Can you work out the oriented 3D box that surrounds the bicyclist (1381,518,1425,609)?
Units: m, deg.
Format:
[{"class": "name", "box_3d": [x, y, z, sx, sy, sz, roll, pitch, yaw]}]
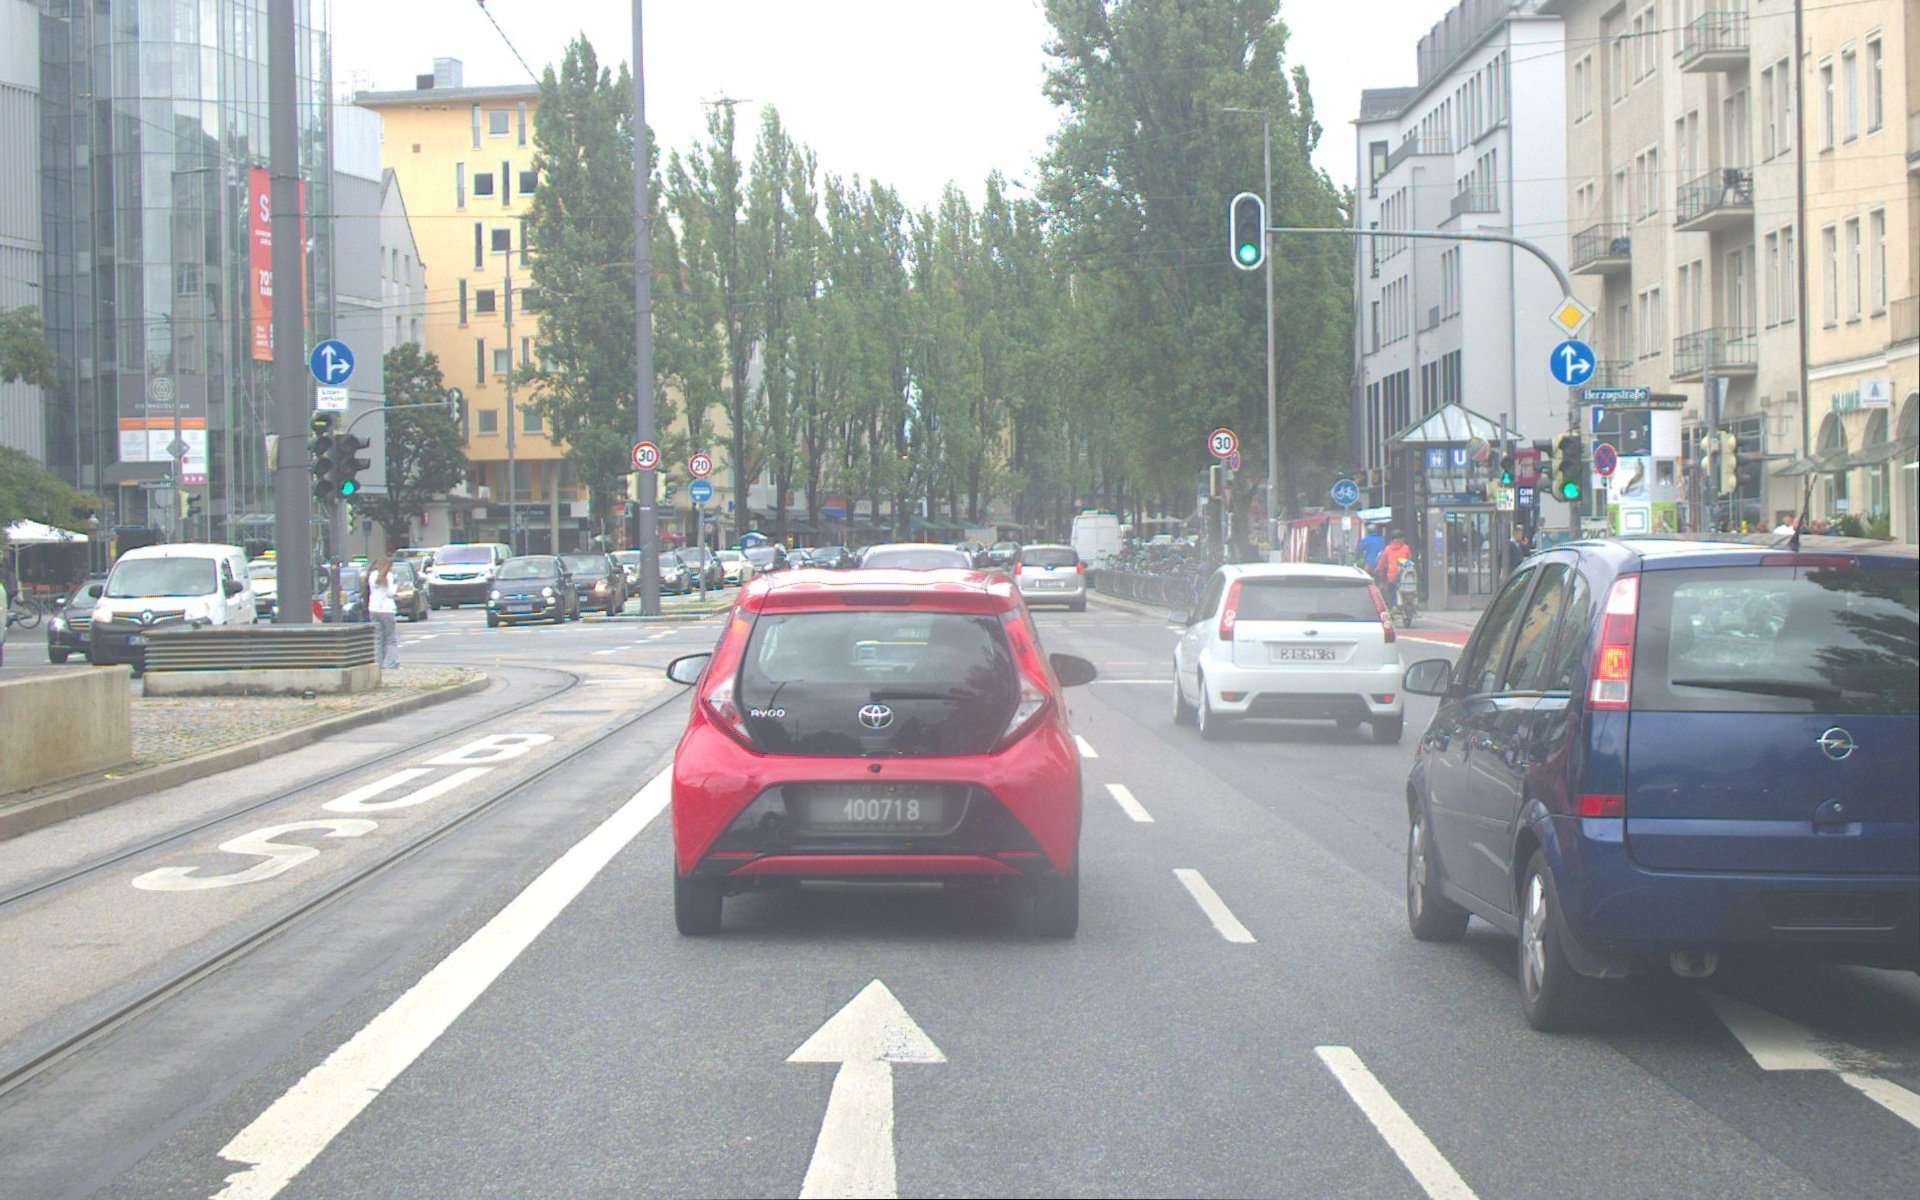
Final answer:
[{"class": "bicyclist", "box_3d": [8.171, -0.689, 63.450, 0.614, 1.652, 1.251, -1, 1, 0]}]

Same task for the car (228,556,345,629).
[{"class": "car", "box_3d": [-13.662, -0.176, 69.914, 1.677, 1.391, 4.233, -1, 1, -2]}]

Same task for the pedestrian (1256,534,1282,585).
[{"class": "pedestrian", "box_3d": [10.546, -1.399, 117.269, 0.790, 1.722, 0.764, -1, 1, 0]}]

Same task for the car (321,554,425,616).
[{"class": "car", "box_3d": [-14.158, -0.382, 83.099, 1.843, 1.412, 4.035, -1, 1, 0]}]

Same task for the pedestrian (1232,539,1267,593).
[{"class": "pedestrian", "box_3d": [8.313, -0.980, 98.730, 0.798, 1.517, 0.810, -1, 1, 18]}]

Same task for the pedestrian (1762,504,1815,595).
[{"class": "pedestrian", "box_3d": [15.918, -0.972, 66.052, 0.644, 1.699, 0.733, -4, 5, -29]}]

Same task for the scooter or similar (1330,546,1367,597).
[{"class": "scooter or similar", "box_3d": [9.327, -0.688, 82.483, 0.364, 1.172, 1.345, -1, 1, 30]}]

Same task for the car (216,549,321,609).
[{"class": "car", "box_3d": [-18.817, -0.591, 93.718, 1.901, 1.537, 4.393, -1, 1, 0]}]

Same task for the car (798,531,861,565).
[{"class": "car", "box_3d": [-6.042, -2.423, 159.373, 1.994, 1.529, 4.586, -1, 1, 10]}]

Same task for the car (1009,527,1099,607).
[{"class": "car", "box_3d": [2.228, -0.802, 82.438, 1.993, 1.831, 4.000, -1, 1, 0]}]

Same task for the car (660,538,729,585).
[{"class": "car", "box_3d": [-9.847, -1.448, 127.715, 1.743, 1.664, 4.731, -1, 1, 5]}]

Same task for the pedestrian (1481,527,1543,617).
[{"class": "pedestrian", "box_3d": [10.440, -0.535, 64.997, 0.836, 1.685, 0.818, 0, 1, 37]}]

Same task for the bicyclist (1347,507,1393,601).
[{"class": "bicyclist", "box_3d": [8.263, -0.932, 69.344, 0.762, 1.863, 1.133, -1, 1, 0]}]

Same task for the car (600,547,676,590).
[{"class": "car", "box_3d": [-11.026, -1.096, 117.937, 1.994, 1.407, 4.167, 0, 1, 3]}]

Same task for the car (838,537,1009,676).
[{"class": "car", "box_3d": [-0.459, 0.049, 42.553, 1.993, 1.612, 4.000, -1, 1, -1]}]

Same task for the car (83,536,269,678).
[{"class": "car", "box_3d": [-10.990, 0.061, 48.446, 1.786, 1.849, 4.219, -2, 1, -3]}]

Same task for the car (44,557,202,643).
[{"class": "car", "box_3d": [-14.210, -0.024, 58.579, 1.672, 1.374, 4.614, -1, 1, -2]}]

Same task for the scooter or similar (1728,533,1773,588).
[{"class": "scooter or similar", "box_3d": [15.008, -0.749, 65.292, 0.820, 0.991, 0.593, -1, 4, 12]}]

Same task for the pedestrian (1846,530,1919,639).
[{"class": "pedestrian", "box_3d": [13.252, -0.224, 49.255, 0.729, 1.535, 0.891, -1, 1, -15]}]

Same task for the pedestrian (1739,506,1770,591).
[{"class": "pedestrian", "box_3d": [15.318, -0.989, 66.292, 0.561, 1.604, 0.567, -1, 4, 13]}]

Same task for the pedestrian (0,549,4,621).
[{"class": "pedestrian", "box_3d": [-23.900, -0.370, 84.334, 0.749, 1.767, 0.773, -1, 1, -23]}]

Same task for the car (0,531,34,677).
[{"class": "car", "box_3d": [-13.436, 0.085, 43.113, 2.175, 1.881, 6.157, -1, 1, -2]}]

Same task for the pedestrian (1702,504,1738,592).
[{"class": "pedestrian", "box_3d": [14.638, -1.001, 66.197, 0.566, 1.665, 0.562, 0, 4, 22]}]

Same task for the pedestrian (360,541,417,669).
[{"class": "pedestrian", "box_3d": [-7.329, 0.061, 44.091, 0.521, 1.613, 0.463, 0, 1, 43]}]

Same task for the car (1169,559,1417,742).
[{"class": "car", "box_3d": [2.763, 0.384, 29.137, 1.699, 1.421, 3.497, -1, 1, -1]}]

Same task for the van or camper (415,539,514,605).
[{"class": "van or camper", "box_3d": [-14.323, -0.839, 99.616, 1.928, 1.819, 5.440, -1, 1, 1]}]

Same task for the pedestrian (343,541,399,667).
[{"class": "pedestrian", "box_3d": [-7.605, 0.051, 44.387, 0.486, 1.613, 0.558, -2, 1, -35]}]

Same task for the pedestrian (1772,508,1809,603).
[{"class": "pedestrian", "box_3d": [15.725, -0.851, 65.127, 0.649, 1.745, 0.636, -1, 4, 12]}]

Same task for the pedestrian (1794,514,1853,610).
[{"class": "pedestrian", "box_3d": [15.964, -0.707, 63.563, 0.934, 1.749, 1.065, -1, 1, 9]}]

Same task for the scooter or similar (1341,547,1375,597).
[{"class": "scooter or similar", "box_3d": [9.514, -0.679, 82.123, 0.301, 1.172, 1.275, -1, 1, 30]}]

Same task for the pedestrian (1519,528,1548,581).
[{"class": "pedestrian", "box_3d": [17.431, -1.385, 104.574, 0.732, 1.596, 0.742, -1, 1, 0]}]

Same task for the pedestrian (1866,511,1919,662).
[{"class": "pedestrian", "box_3d": [11.212, -0.170, 40.139, 0.881, 1.737, 0.858, -1, 1, -17]}]
